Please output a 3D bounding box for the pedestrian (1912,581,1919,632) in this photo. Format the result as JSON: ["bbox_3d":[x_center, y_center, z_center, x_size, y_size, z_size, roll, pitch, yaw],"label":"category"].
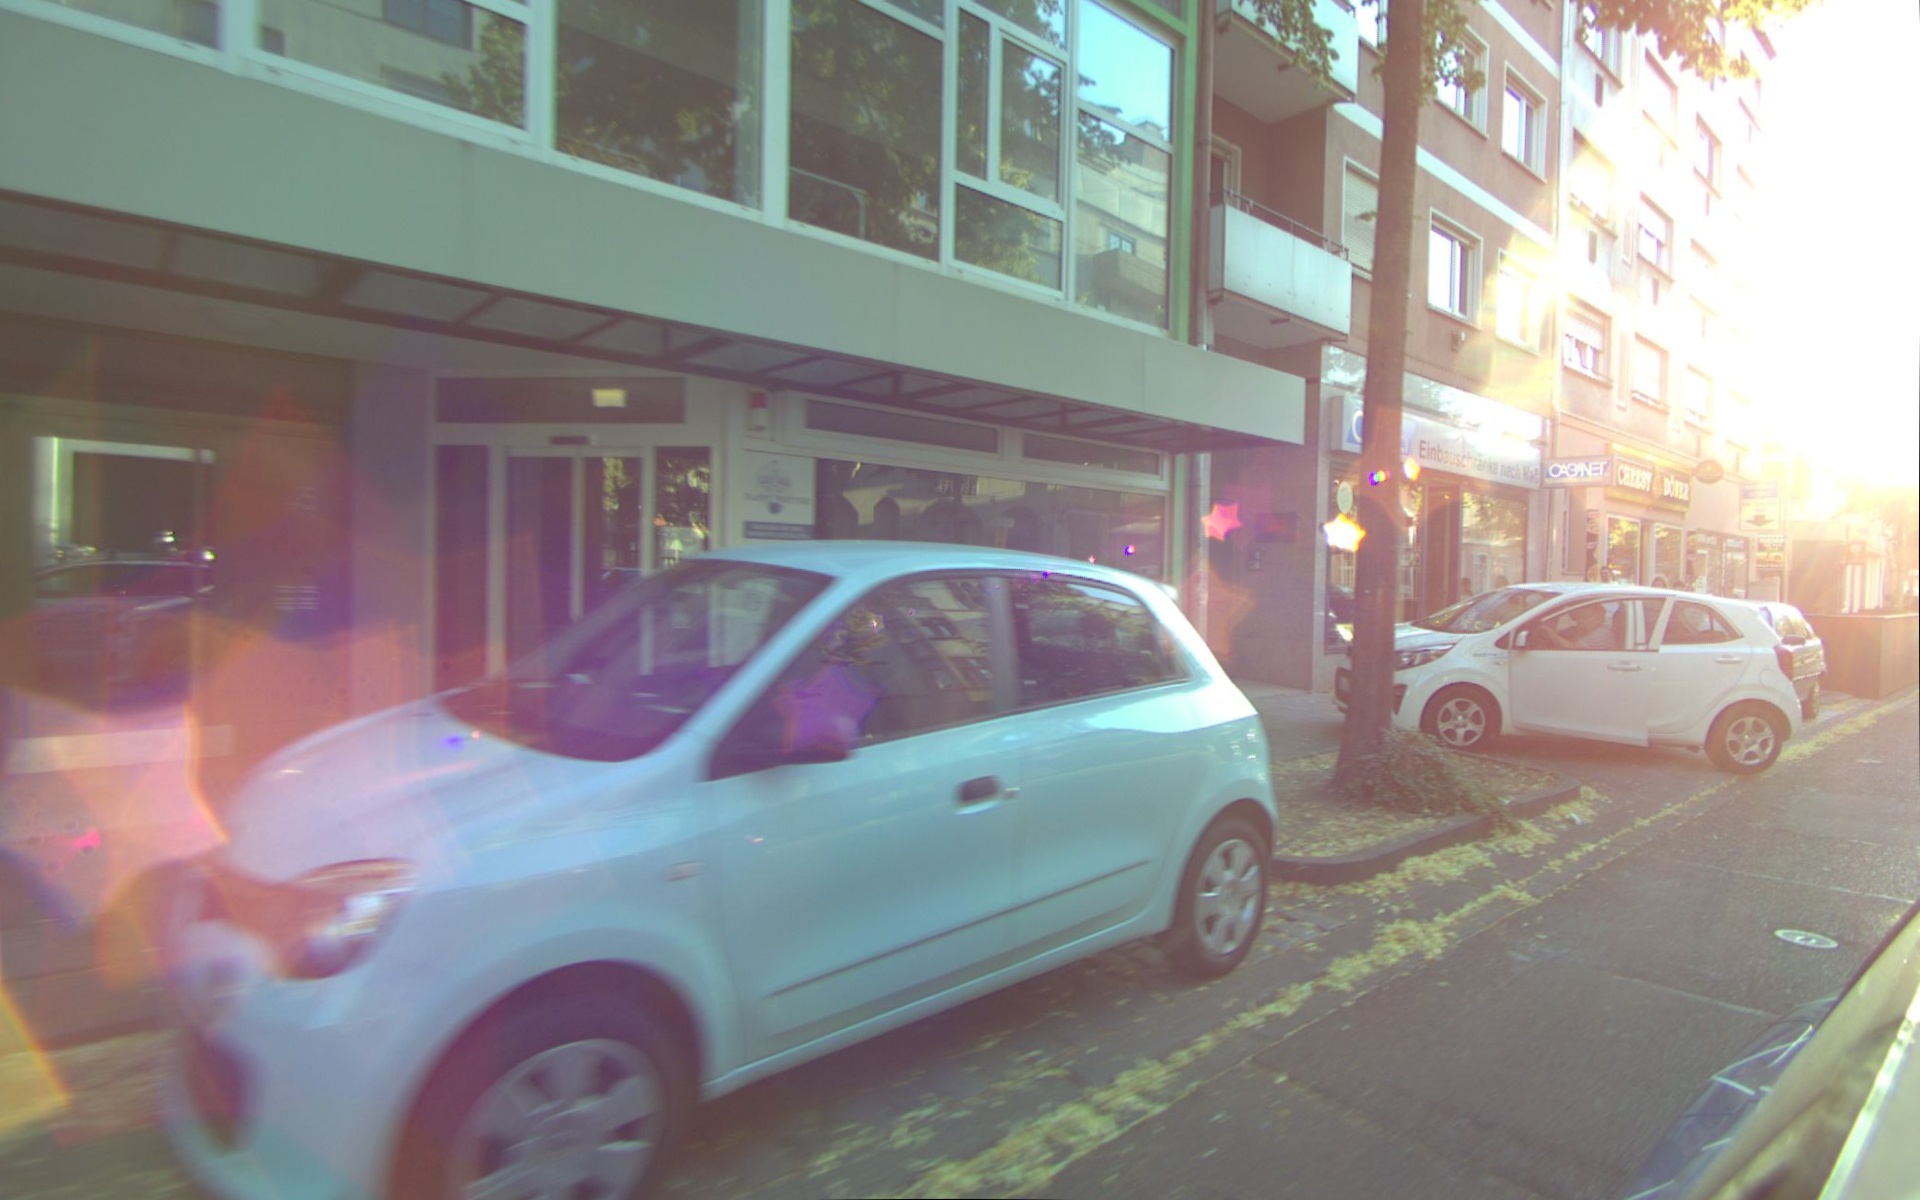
[{"bbox_3d":[35.972,0.261,37.579,0.743,1.898,0.719,0,3,-40],"label":"pedestrian"}]

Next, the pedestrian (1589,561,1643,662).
[{"bbox_3d":[11.652,0.187,17.975,0.657,1.760,0.607,0,1,-41],"label":"pedestrian"}]

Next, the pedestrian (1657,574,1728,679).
[{"bbox_3d":[12.049,0.416,16.647,0.841,1.652,0.747,0,1,-41],"label":"pedestrian"}]

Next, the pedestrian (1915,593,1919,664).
[{"bbox_3d":[20.806,0.616,21.635,0.538,1.498,0.448,0,3,-40],"label":"pedestrian"}]

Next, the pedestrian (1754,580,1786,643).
[{"bbox_3d":[21.684,0.308,27.104,0.563,1.644,0.493,0,3,-40],"label":"pedestrian"}]

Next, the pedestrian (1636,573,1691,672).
[{"bbox_3d":[12.142,0.376,17.465,0.657,1.652,0.607,0,1,-41],"label":"pedestrian"}]

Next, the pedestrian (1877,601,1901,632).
[{"bbox_3d":[35.734,0.626,38.931,0.636,1.149,0.551,0,3,-40],"label":"pedestrian"}]

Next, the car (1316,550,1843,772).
[{"bbox_3d":[5.296,0.465,9.026,3.555,1.603,1.666,3,1,1],"label":"car"}]

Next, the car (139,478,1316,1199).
[{"bbox_3d":[-0.500,0.530,3.435,3.491,1.561,1.695,0,3,-42],"label":"car"}]

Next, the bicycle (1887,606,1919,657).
[{"bbox_3d":[24.125,0.809,24.964,0.469,1.230,2.063,1,1,-4],"label":"bicycle"}]

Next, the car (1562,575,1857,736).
[{"bbox_3d":[9.069,0.550,12.153,3.919,1.490,1.831,0,5,-39],"label":"car"}]

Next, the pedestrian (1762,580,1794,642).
[{"bbox_3d":[22.499,0.291,27.841,0.563,1.644,0.493,0,3,-40],"label":"pedestrian"}]

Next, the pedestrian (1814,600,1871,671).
[{"bbox_3d":[17.308,0.688,19.858,0.636,1.322,0.687,0,3,-39],"label":"pedestrian"}]
